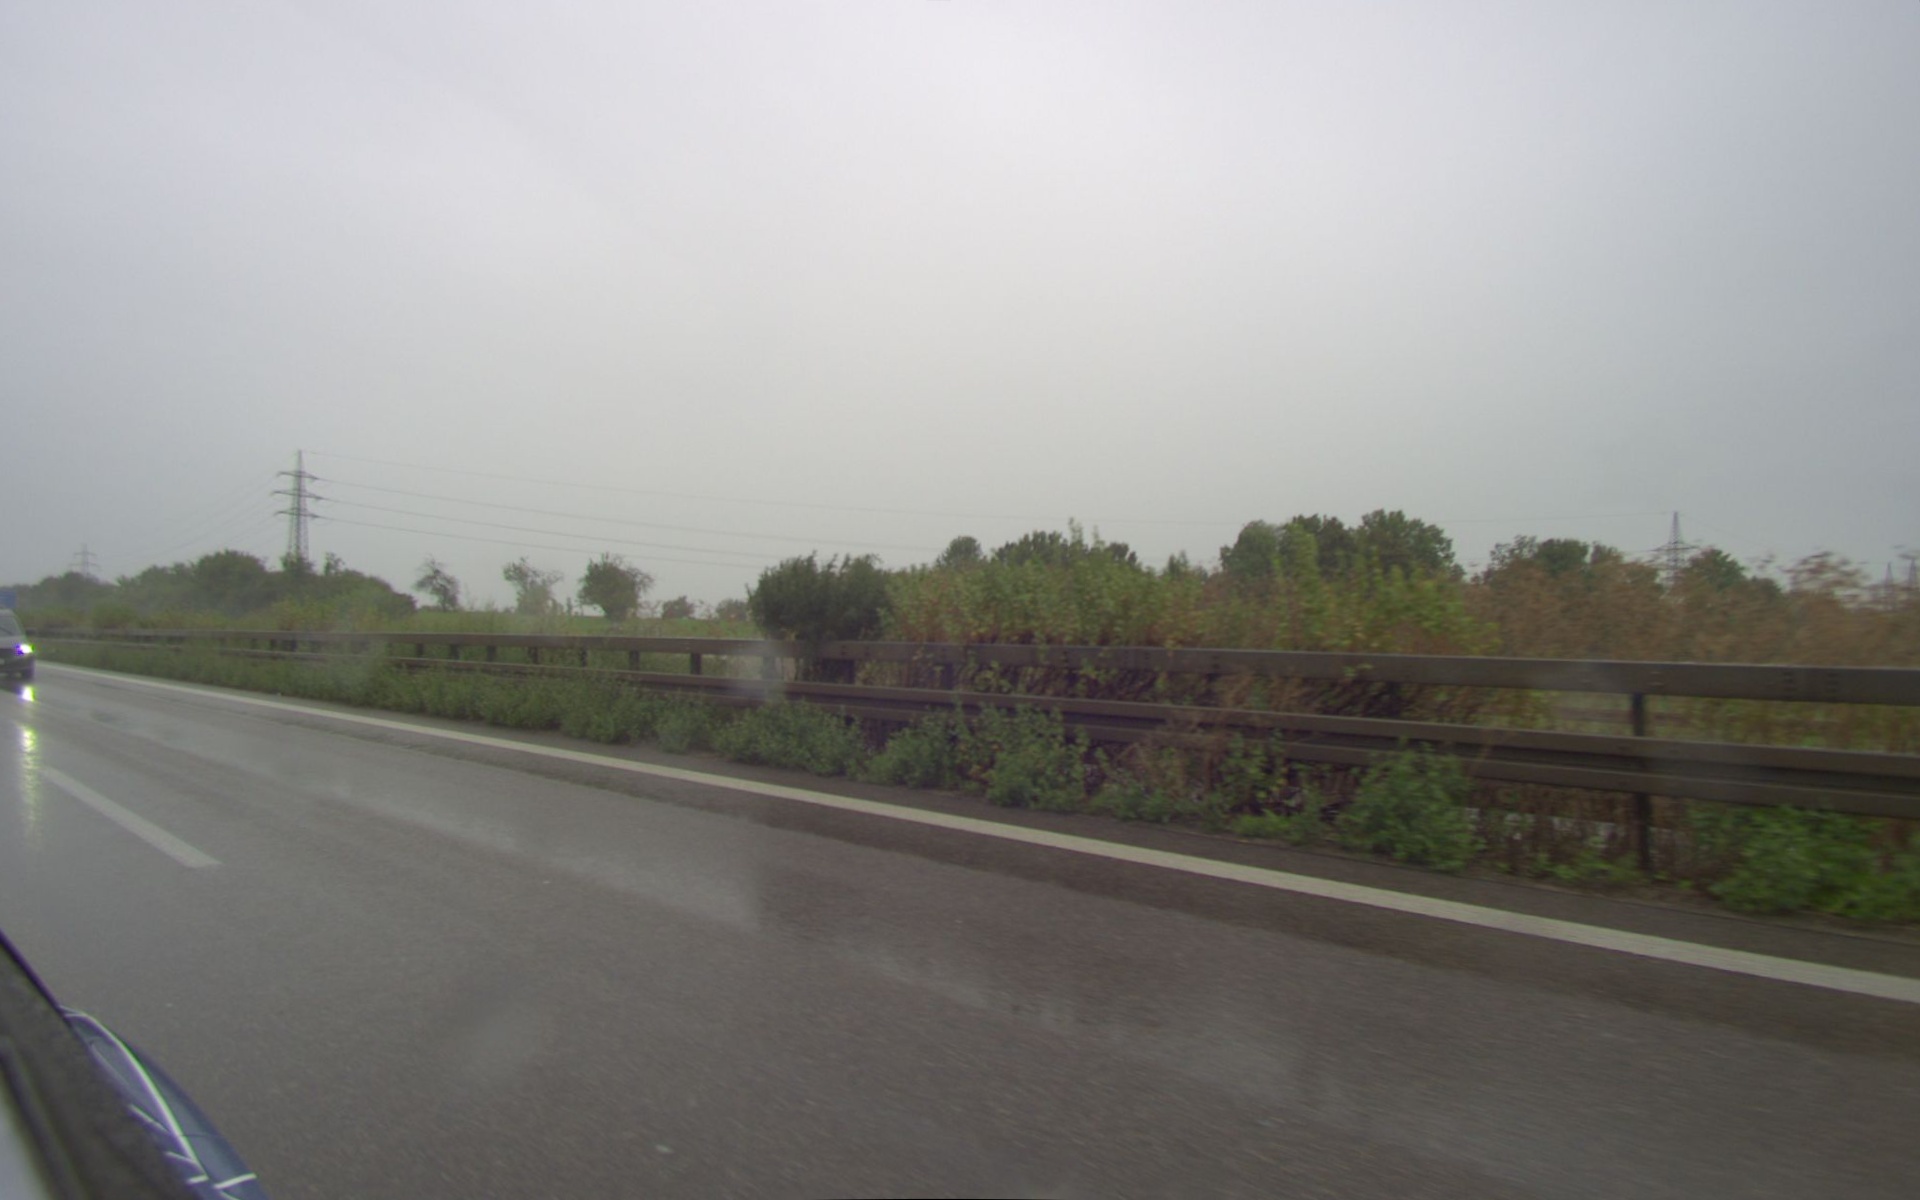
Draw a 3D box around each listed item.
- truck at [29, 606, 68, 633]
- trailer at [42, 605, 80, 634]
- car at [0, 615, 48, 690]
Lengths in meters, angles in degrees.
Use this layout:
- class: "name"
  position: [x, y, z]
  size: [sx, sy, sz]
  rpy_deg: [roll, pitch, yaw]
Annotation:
- class: "truck"
  position: [-110.131, 2.340, 122.190]
  size: [10.610, 3.059, 2.217]
  rpy_deg: [-1, 0, 41]
- class: "trailer"
  position: [-103.040, 2.217, 115.951]
  size: [8.261, 3.088, 2.223]
  rpy_deg: [-1, 0, 41]
- class: "car"
  position: [-24.759, 1.294, 25.596]
  size: [4.498, 1.787, 2.021]
  rpy_deg: [-1, -1, 41]
